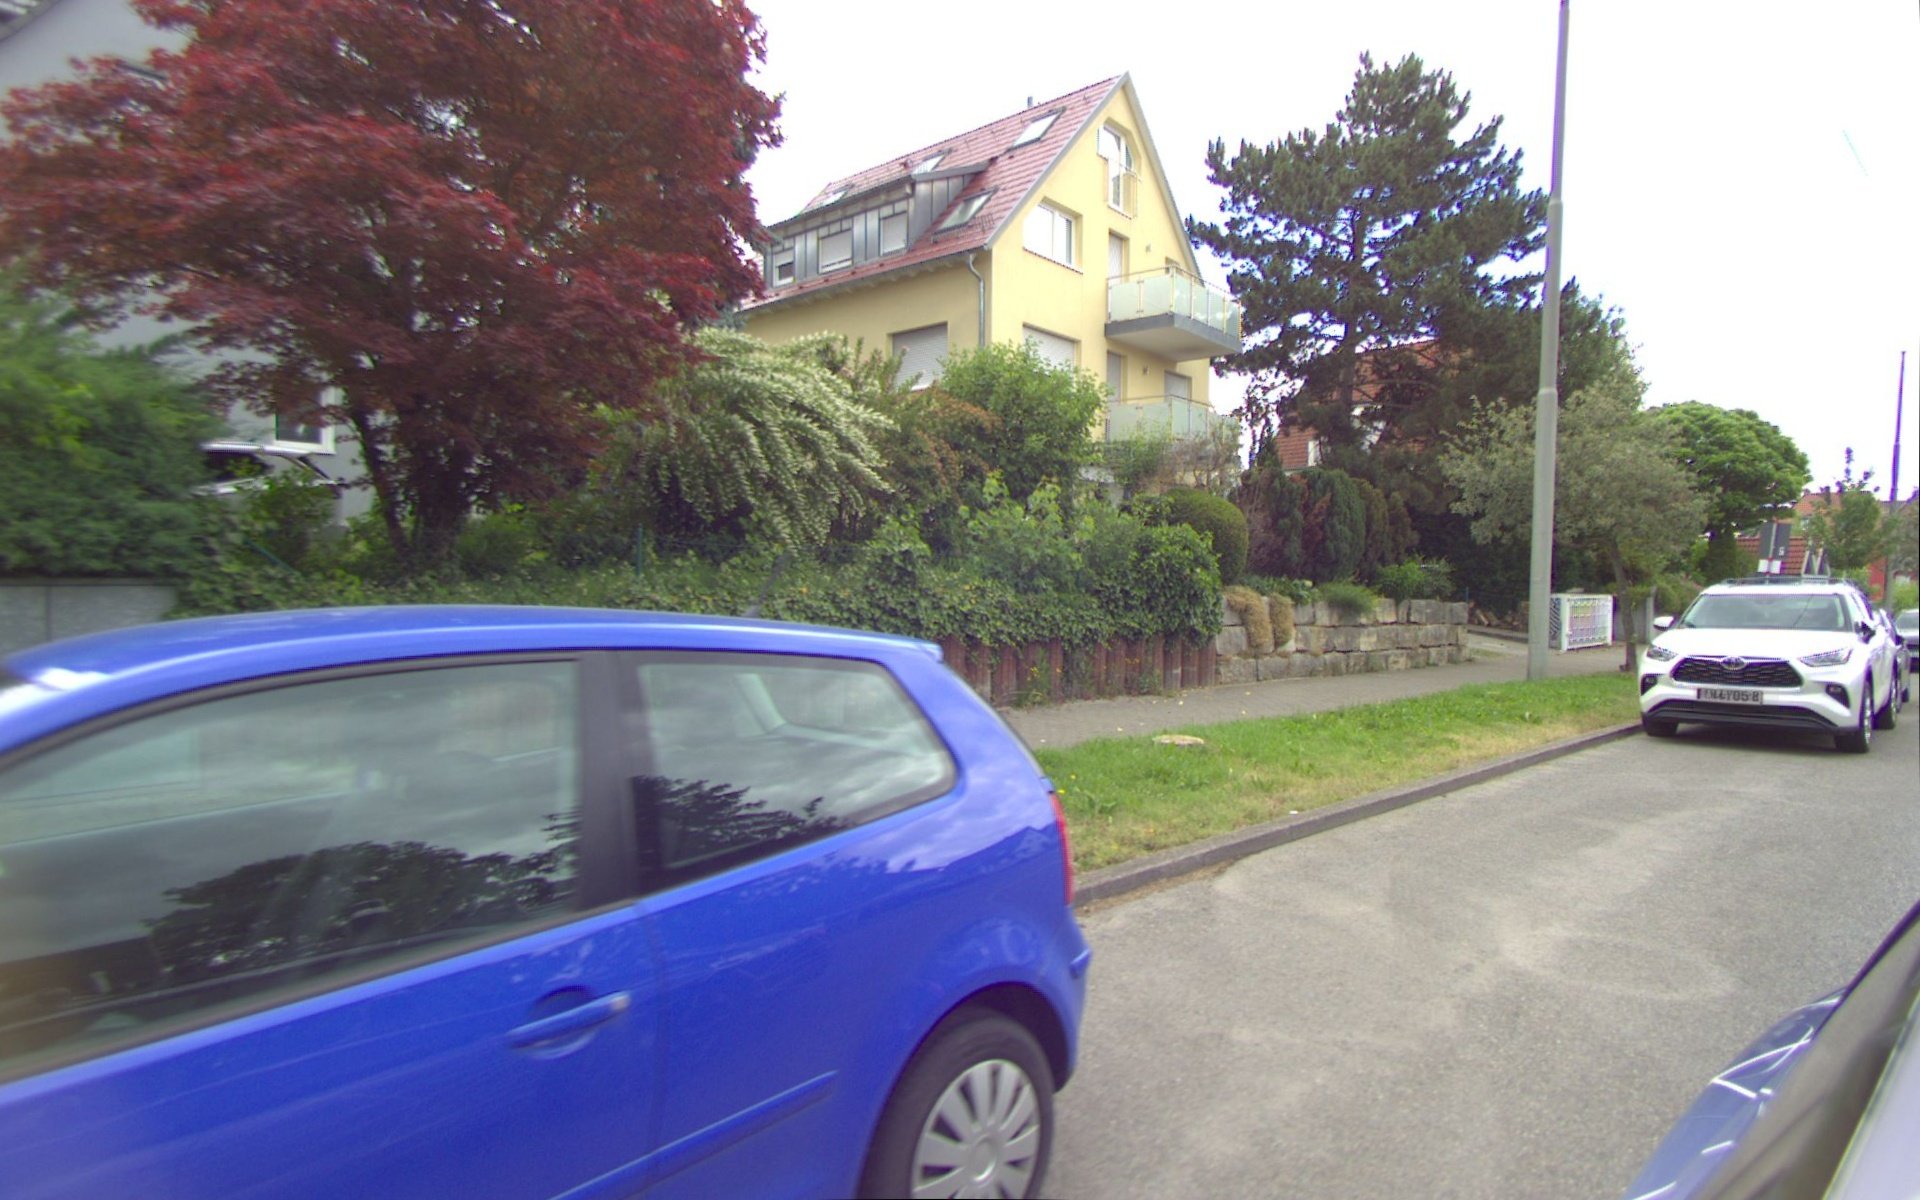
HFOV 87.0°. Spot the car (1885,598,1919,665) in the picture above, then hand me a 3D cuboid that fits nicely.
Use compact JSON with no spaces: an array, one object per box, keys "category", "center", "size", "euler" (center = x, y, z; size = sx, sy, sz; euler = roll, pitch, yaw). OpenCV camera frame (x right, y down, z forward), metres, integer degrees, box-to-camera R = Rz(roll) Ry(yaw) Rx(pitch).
[{"category":"car","center":[22.977,0.683,23.389],"size":[4.470,1.475,1.833],"euler":[0,0,-41]}]

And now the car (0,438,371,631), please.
[{"category":"car","center":[-8.667,-0.732,10.066],"size":[1.777,1.697,4.474],"euler":[6,10,41]}]

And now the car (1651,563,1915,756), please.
[{"category":"car","center":[9.619,0.545,11.675],"size":[4.626,1.800,1.800],"euler":[0,0,-44]}]

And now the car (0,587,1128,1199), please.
[{"category":"car","center":[-1.525,0.727,1.764],"size":[3.811,1.470,1.628],"euler":[0,0,-44]}]

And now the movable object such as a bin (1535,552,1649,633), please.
[{"category":"movable object such as a bin","center":[16.652,-0.198,26.701],"size":[1.321,2.039,2.312],"euler":[0,0,-44]}]

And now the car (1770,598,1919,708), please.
[{"category":"car","center":[13.496,0.700,15.267],"size":[3.448,1.461,1.559],"euler":[0,0,-44]}]
